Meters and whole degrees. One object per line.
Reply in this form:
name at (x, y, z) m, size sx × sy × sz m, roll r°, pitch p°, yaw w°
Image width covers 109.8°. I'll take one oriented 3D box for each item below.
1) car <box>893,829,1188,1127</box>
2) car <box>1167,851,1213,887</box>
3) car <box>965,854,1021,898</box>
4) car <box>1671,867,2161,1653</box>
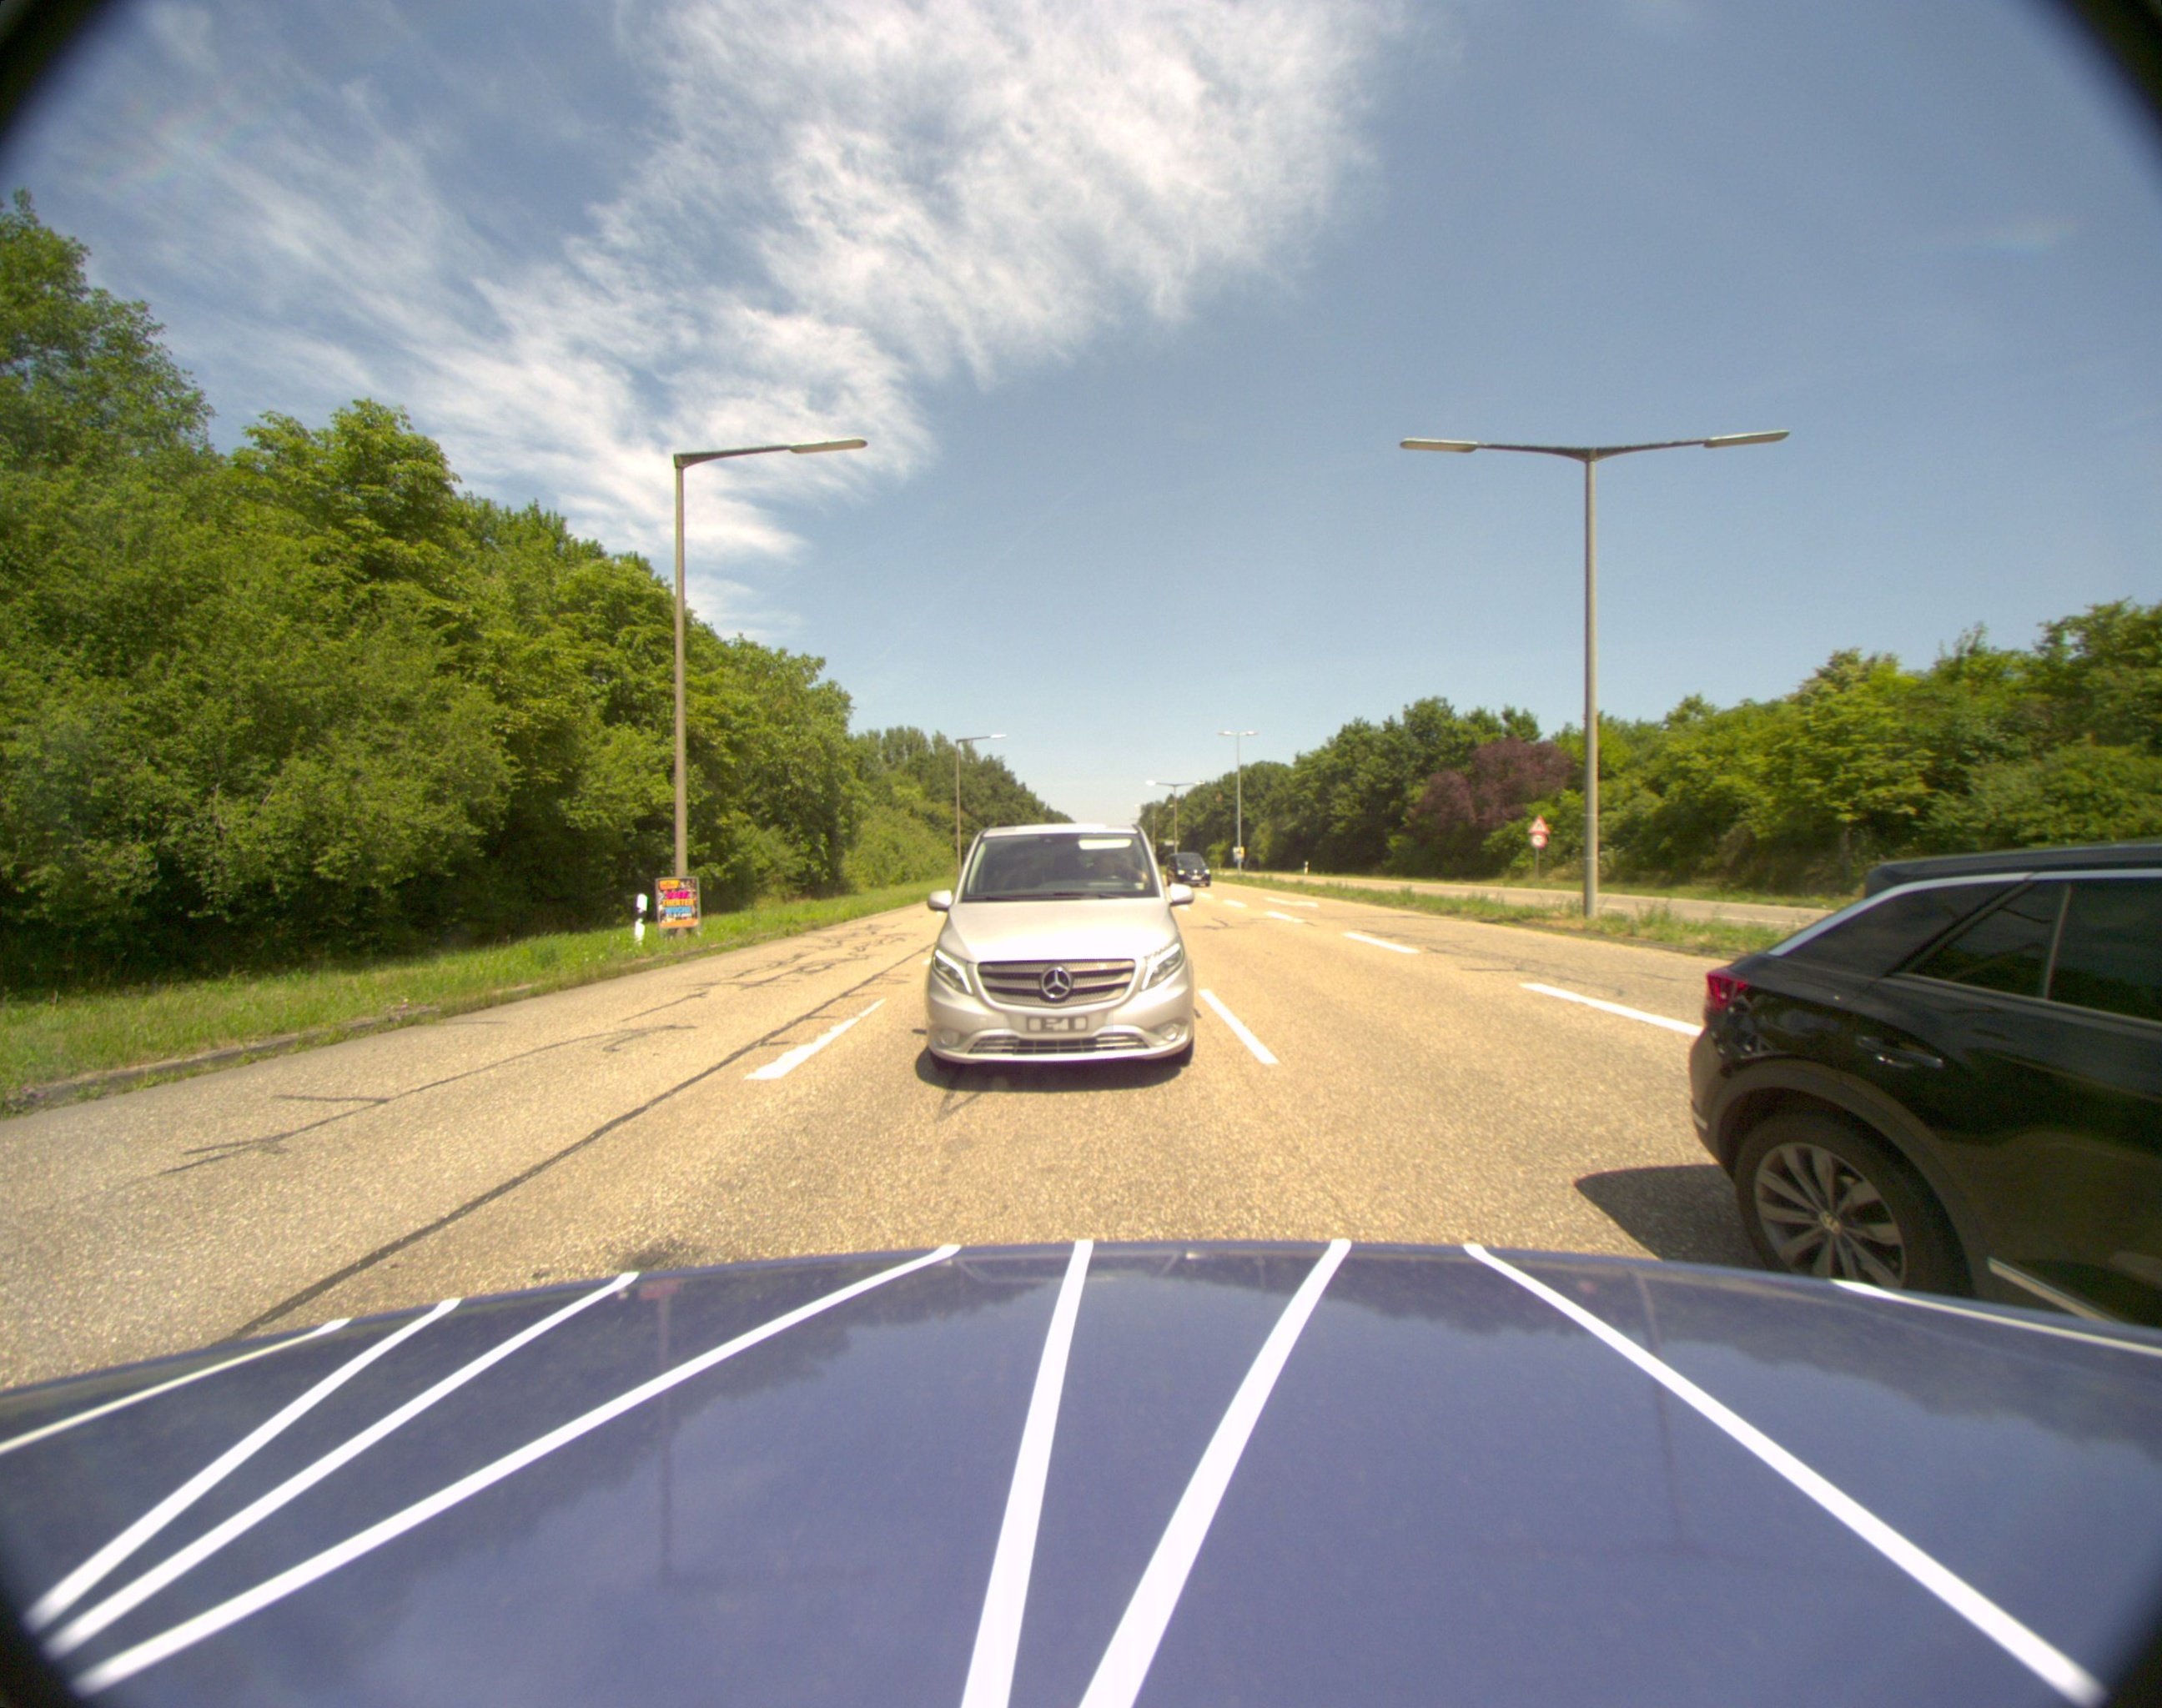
car at (-0.218, 0.769, 7.145) m, size 1.764 × 1.794 × 4.855 m, roll -2°, pitch 0°, yaw 1°
car at (5.809, 0.763, 40.924) m, size 1.736 × 1.815 × 4.321 m, roll -1°, pitch 0°, yaw -1°
car at (-3.948, 0.941, 34.752) m, size 1.865 × 1.807 × 4.908 m, roll -2°, pitch 0°, yaw 1°
car at (3.032, 0.852, 0.809) m, size 1.739 × 1.503 × 3.970 m, roll -2°, pitch 1°, yaw 1°
